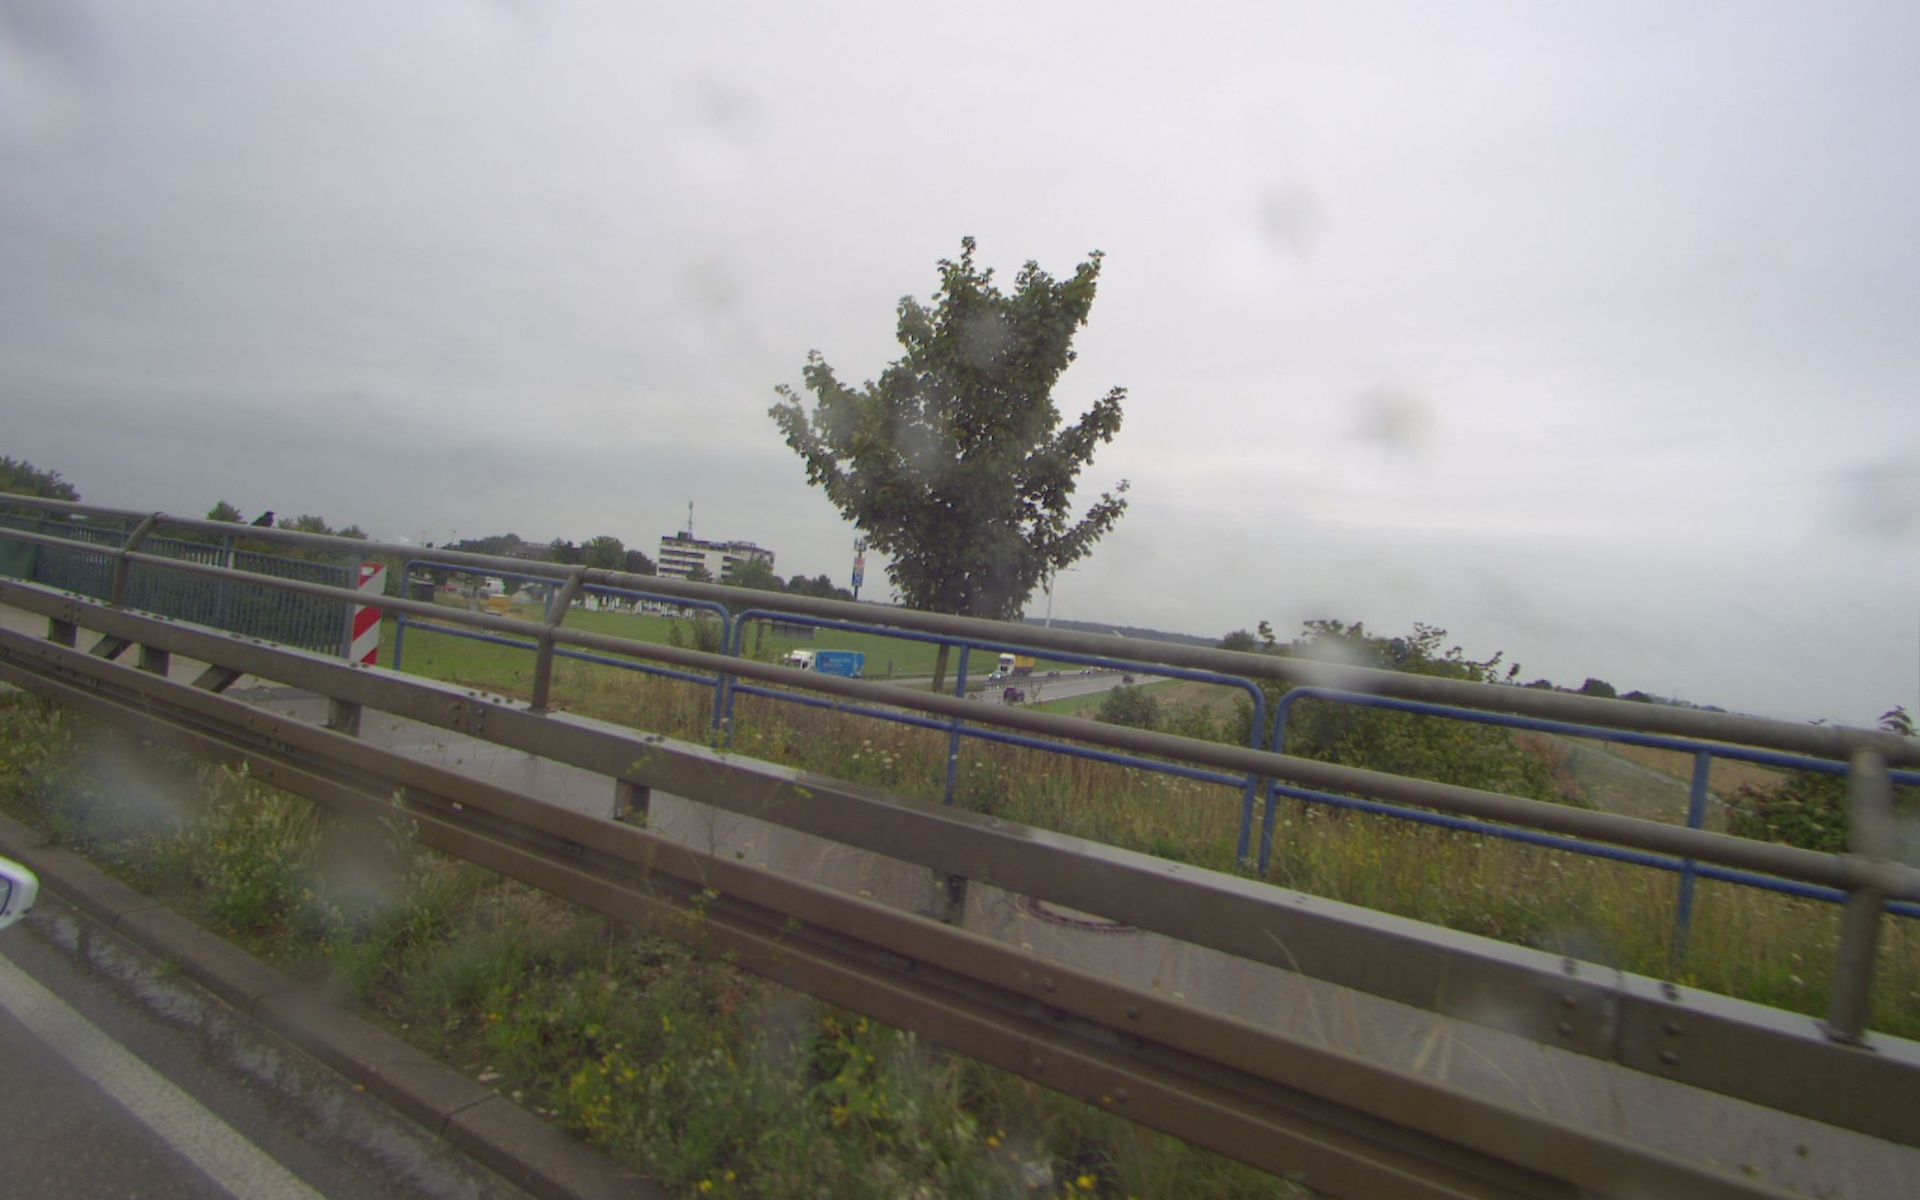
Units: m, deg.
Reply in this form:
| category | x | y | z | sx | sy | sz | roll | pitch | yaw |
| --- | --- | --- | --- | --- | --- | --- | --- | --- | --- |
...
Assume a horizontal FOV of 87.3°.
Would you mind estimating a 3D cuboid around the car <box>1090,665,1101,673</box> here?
| category | x | y | z | sx | sy | sz | roll | pitch | yaw |
| --- | --- | --- | --- | --- | --- | --- | --- | --- | --- |
| car | 34.563 | 17.687 | 257.327 | 1.962 | 1.783 | 4.007 | 7 | -3 | 17 |

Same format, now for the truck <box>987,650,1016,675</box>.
| category | x | y | z | sx | sy | sz | roll | pitch | yaw |
| --- | --- | --- | --- | --- | --- | --- | --- | --- | --- |
| truck | 7.402 | 10.946 | 176.798 | 2.828 | 4.015 | 6.823 | 7 | -1 | 19 |

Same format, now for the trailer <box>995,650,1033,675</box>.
| category | x | y | z | sx | sy | sz | roll | pitch | yaw |
| --- | --- | --- | --- | --- | --- | --- | --- | --- | --- |
| trailer | 10.099 | 11.477 | 184.720 | 2.828 | 4.015 | 14.029 | 7 | -1 | 19 |
